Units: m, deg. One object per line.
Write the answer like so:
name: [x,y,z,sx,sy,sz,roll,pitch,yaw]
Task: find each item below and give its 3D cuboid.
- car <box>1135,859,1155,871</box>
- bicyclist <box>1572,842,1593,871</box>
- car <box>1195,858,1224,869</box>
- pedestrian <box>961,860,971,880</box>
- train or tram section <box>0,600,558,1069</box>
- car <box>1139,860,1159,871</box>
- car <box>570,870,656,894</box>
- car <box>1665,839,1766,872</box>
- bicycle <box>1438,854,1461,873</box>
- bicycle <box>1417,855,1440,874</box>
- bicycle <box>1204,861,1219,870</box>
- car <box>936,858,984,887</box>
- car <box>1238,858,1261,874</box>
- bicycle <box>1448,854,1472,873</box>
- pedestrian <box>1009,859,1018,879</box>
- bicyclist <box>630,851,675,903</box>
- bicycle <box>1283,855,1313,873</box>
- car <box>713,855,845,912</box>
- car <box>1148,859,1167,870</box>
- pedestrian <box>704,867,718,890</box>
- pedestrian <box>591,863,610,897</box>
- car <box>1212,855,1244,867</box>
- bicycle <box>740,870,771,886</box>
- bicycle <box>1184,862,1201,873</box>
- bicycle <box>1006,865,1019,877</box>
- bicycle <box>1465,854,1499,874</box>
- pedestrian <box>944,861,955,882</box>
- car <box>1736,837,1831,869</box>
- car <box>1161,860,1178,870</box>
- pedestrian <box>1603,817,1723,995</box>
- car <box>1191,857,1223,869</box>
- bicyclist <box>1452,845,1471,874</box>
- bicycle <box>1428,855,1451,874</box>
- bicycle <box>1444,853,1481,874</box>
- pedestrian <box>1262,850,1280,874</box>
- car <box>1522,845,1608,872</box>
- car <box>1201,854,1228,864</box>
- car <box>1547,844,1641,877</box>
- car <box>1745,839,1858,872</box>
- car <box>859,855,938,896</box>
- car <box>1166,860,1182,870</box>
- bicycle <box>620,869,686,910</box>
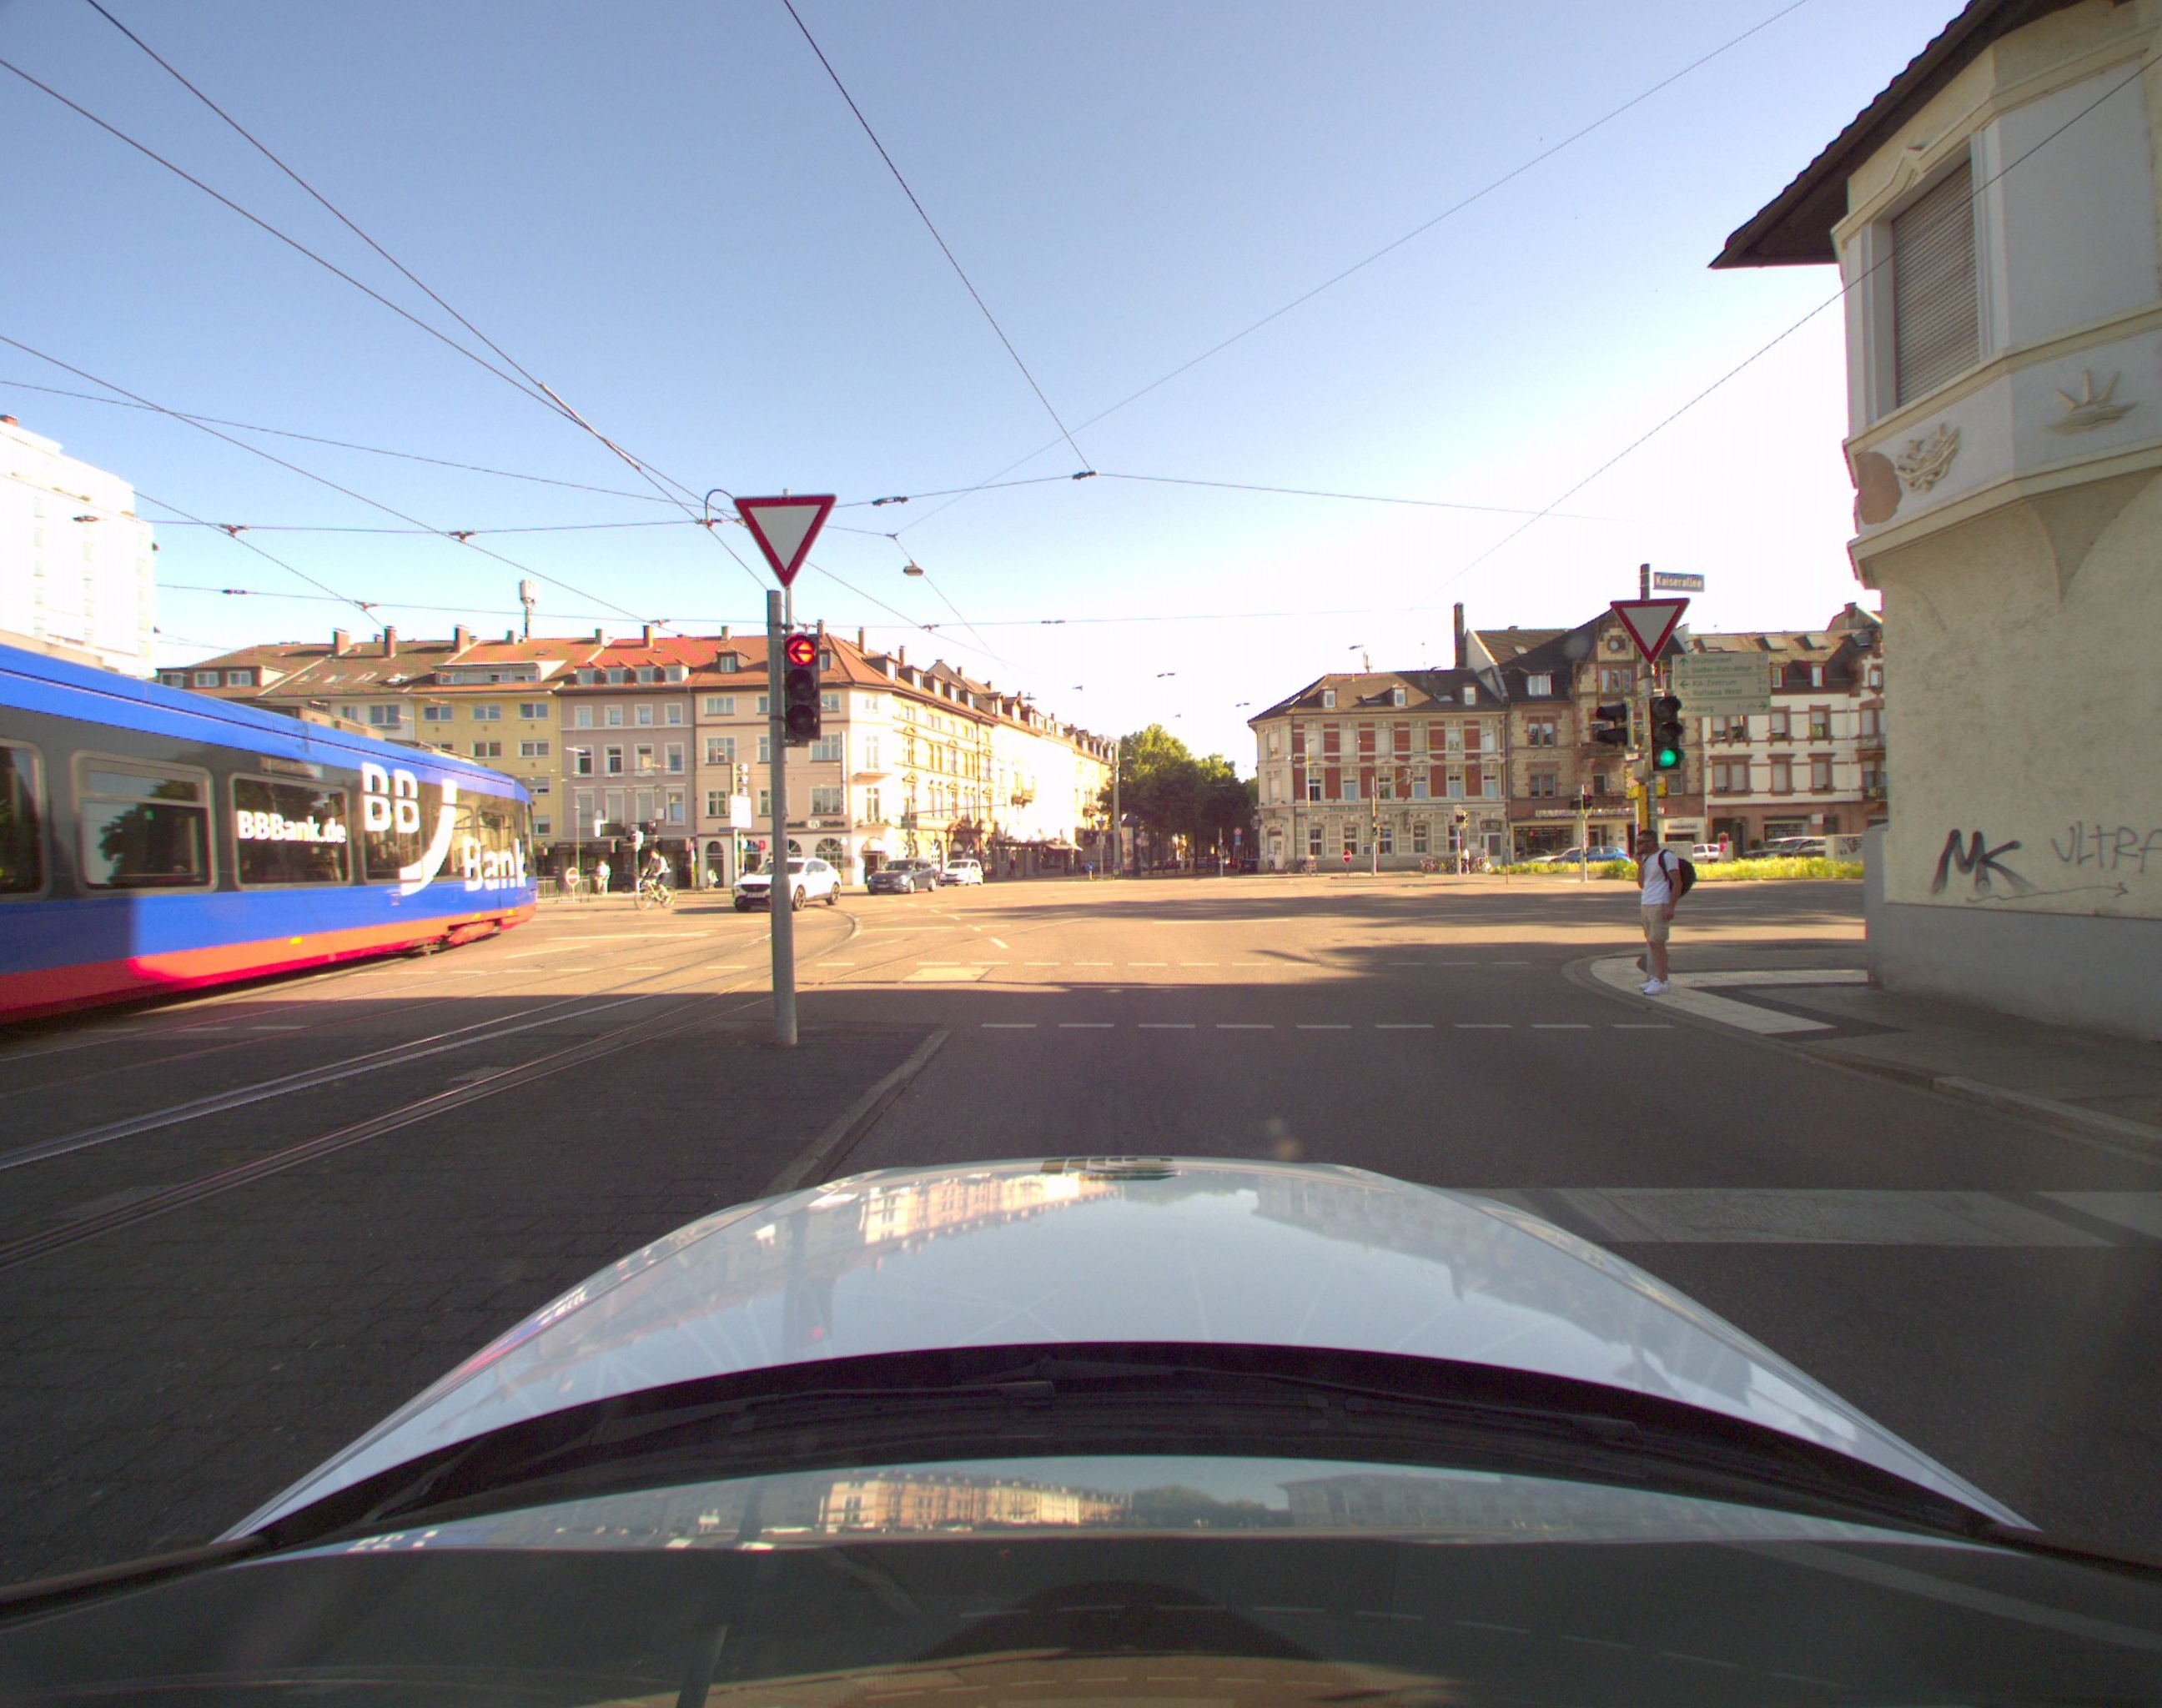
car: [8.932,1.555,112.831,1.978,1.497,4.051,-2,0,16]
bicyclist: [31.247,0.157,50.769,0.901,1.764,0.601,-1,0,-3]
car: [20.201,1.446,128.002,3.949,1.545,2.012,-2,0,30]
pedestrian: [-9.298,1.293,65.919,0.546,1.642,0.636,-2,0,21]
train or tram section: [-11.243,-0.067,11.656,3.062,3.613,12.044,-1,0,-17]
car: [9.803,1.586,116.955,1.978,1.497,4.051,-2,0,16]
car: [-30.703,1.833,53.525,4.626,1.440,1.743,-1,-1,-1]
car: [34.803,0.091,44.757,3.973,1.668,1.955,-1,0,1]
bicycle: [23.846,0.623,52.753,0.674,1.191,1.969,-1,0,3]
bicycle: [22.495,0.646,52.759,0.674,1.191,1.969,-1,0,3]
bicycle: [15.872,1.359,99.032,0.586,1.067,1.928,-1,0,-34]
car: [-6.710,1.002,45.549,1.708,1.497,3.591,-2,0,8]
car: [17.014,1.149,82.159,1.978,1.497,4.051,-2,0,16]
bicycle: [24.518,0.602,52.730,0.674,1.191,1.969,-1,0,3]
pedestrian: [-6.448,1.406,77.627,0.676,1.908,0.636,-2,0,18]
bicyclist: [-13.228,0.687,25.175,0.709,1.559,0.990,-2,0,15]
bicycle: [15.186,0.705,56.953,1.950,1.191,0.547,-2,0,6]
car: [-8.781,0.802,24.144,1.984,1.497,4.352,-2,0,4]
car: [11.518,1.524,122.498,1.978,1.497,4.051,-2,0,16]
pedestrian: [-25.522,1.671,56.153,0.656,1.524,0.695,-1,0,-1]
pedestrian: [-23.509,1.253,39.820,0.730,1.627,0.664,-1,0,-34]
car: [20.880,1.008,116.005,3.948,1.545,2.013,-2,0,32]
bicycle: [-22.868,1.690,57.263,1.940,1.067,0.582,-1,0,-6]
bicycle: [11.333,1.350,82.637,0.586,1.067,1.928,-1,0,-34]
bicycle: [-6.711,1.643,79.863,0.491,1.067,1.778,-2,0,18]
bicycle: [25.743,0.639,52.302,1.961,1.191,0.677,-1,0,-10]
pedestrian: [-10.630,1.409,65.887,0.622,1.642,0.540,-2,0,19]
car: [45.237,-0.058,52.489,4.388,1.965,1.955,-1,0,1]
car: [14.347,1.776,131.627,1.978,1.497,4.051,-2,0,16]
pedestrian: [6.098,0.521,8.547,0.691,1.740,0.668,-4,-1,-28]
car: [17.838,1.299,115.243,3.949,1.545,2.012,-2,0,30]
bicyclist: [23.601,0.346,50.497,0.869,1.764,0.602,-1,0,4]
bicycle: [23.197,0.656,52.768,0.674,1.191,1.969,-1,0,3]
bicycle: [23.639,0.584,50.500,1.952,1.191,0.602,-2,0,4]
pedestrian: [13.470,0.576,57.787,0.722,1.669,0.928,-1,-1,-43]
car: [28.508,0.260,48.015,3.973,1.412,1.846,-1,0,1]
car: [21.930,0.891,134.087,3.949,1.545,2.012,-2,0,30]
car: [28.316,0.338,45.022,3.973,1.668,1.955,-1,0,1]
car: [39.483,0.070,44.696,4.456,1.668,1.955,-1,0,1]
car: [-7.461,0.840,33.835,1.764,1.497,4.581,-2,0,6]
car: [15.559,1.882,136.341,1.978,1.497,4.051,-2,0,16]
bicycle: [-13.192,1.061,25.187,0.481,1.166,2.065,-2,0,16]
